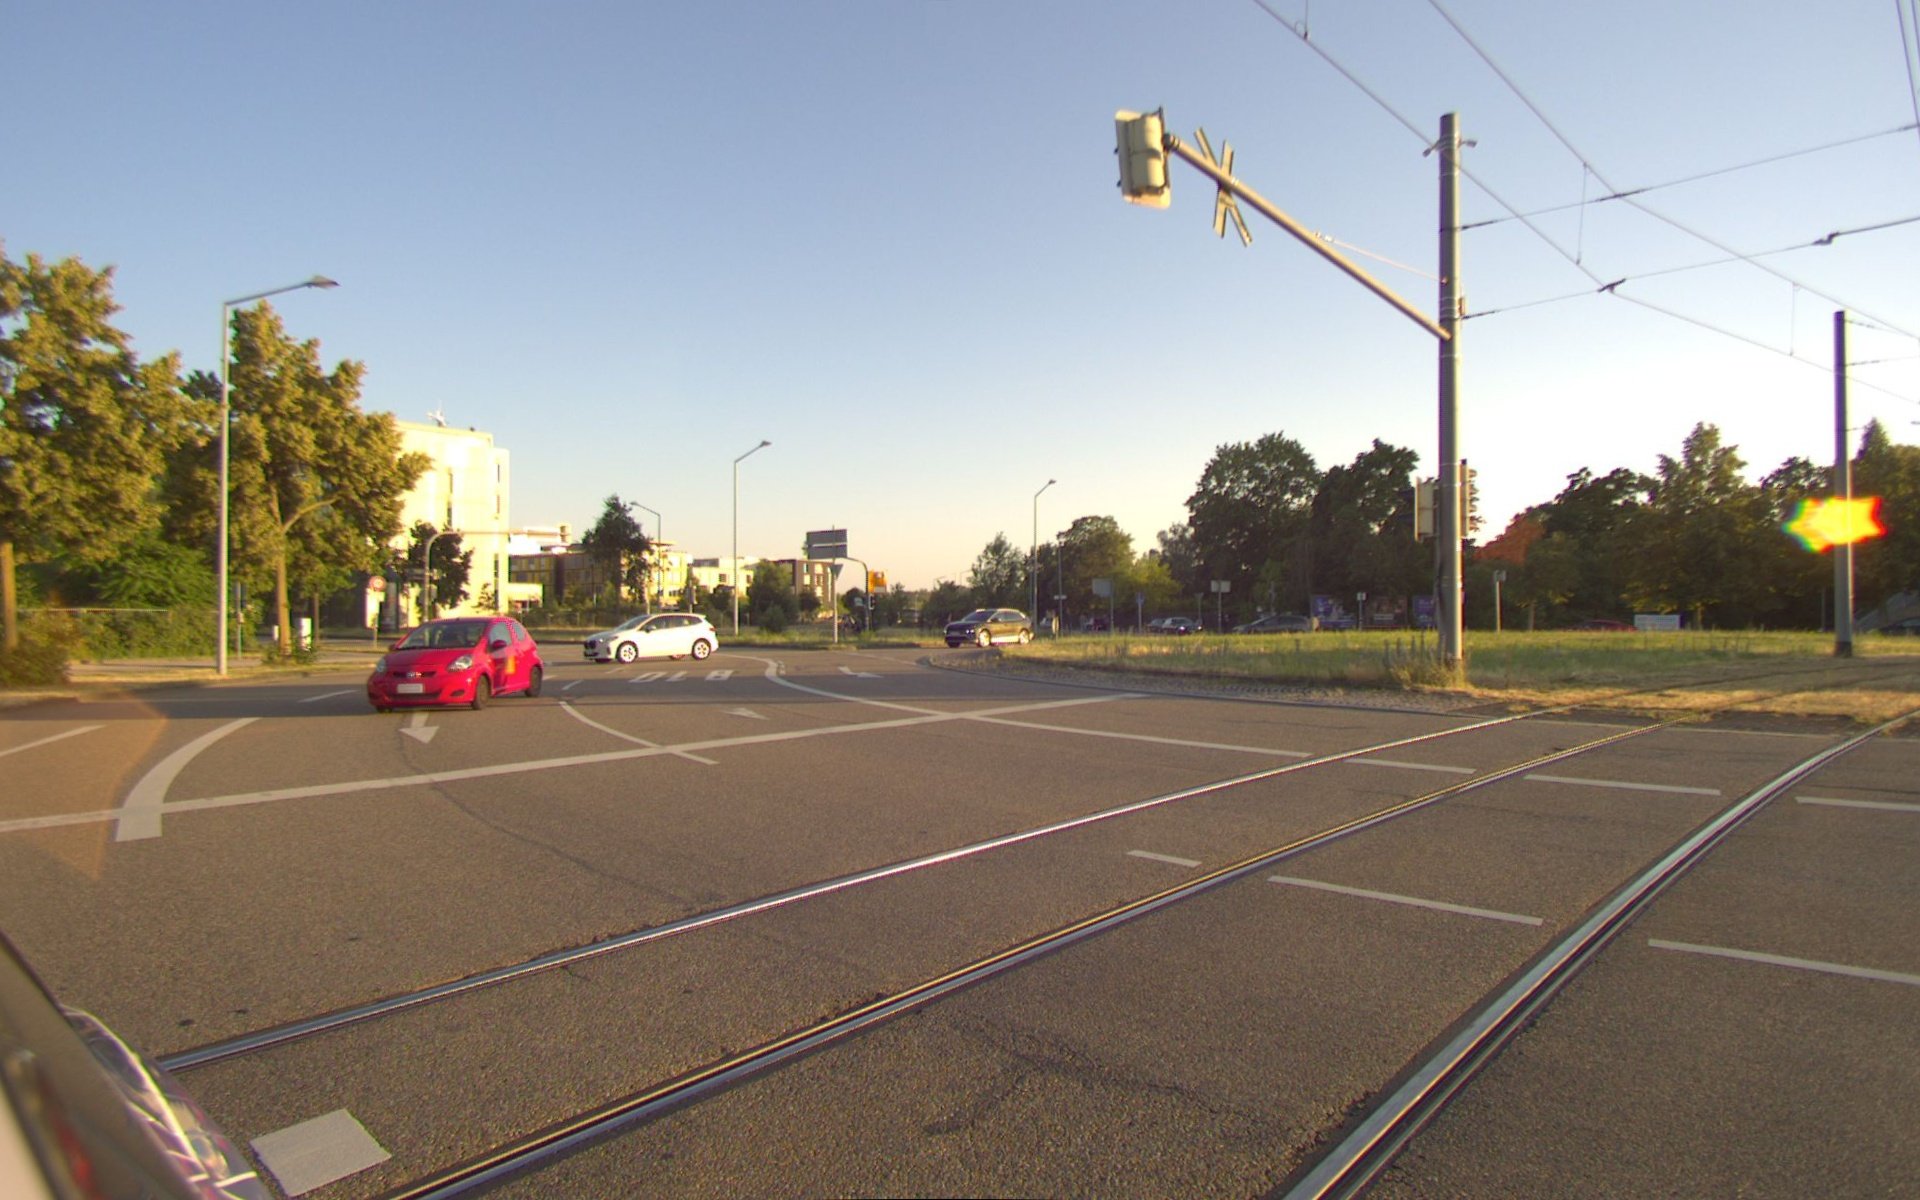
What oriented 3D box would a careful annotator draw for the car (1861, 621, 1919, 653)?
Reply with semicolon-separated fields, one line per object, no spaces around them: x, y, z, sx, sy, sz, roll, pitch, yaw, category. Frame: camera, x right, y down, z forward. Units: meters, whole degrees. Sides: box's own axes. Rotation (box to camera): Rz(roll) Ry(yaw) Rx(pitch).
44.949;1.701;46.894;1.911;1.443;4.334;0;-2;-25;car

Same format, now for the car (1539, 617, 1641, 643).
36.410;1.730;58.561;1.914;1.443;4.602;1;-2;-40;car

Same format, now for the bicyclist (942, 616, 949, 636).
-1.036;1.865;71.812;0.442;1.408;0.474;0;-1;0;bicyclist

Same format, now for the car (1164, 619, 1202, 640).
16.790;2.220;76.418;1.816;1.512;4.255;0;-1;-1;car

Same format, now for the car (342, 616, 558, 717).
-8.226;0.995;16.774;1.669;1.432;4.214;-1;-1;-3;car

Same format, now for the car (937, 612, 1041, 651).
1.261;1.318;42.822;4.145;1.570;1.833;0;-2;-36;car

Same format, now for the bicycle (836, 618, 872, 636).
-7.080;1.789;67.490;2.290;1.188;0.813;0;-1;-35;bicycle

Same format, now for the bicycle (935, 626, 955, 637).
-1.045;2.240;71.816;1.399;0.797;0.474;0;-1;1;bicycle

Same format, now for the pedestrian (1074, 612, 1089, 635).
9.124;1.788;76.289;0.875;1.714;0.723;0;-2;-18;pedestrian

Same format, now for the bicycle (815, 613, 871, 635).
-7.478;1.526;64.918;3.481;1.406;1.126;0;-1;-36;bicycle

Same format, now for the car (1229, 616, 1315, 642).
17.804;1.673;57.931;4.347;1.443;1.942;-1;-2;5;car

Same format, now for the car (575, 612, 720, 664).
-10.100;1.205;32.880;4.152;1.570;1.761;1;-2;-44;car

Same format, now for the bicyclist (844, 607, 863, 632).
-7.099;1.320;67.469;0.984;1.645;0.813;1;-1;-35;bicyclist

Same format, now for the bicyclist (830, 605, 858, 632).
-7.449;1.180;64.953;1.394;1.762;1.126;1;-1;-36;bicyclist
